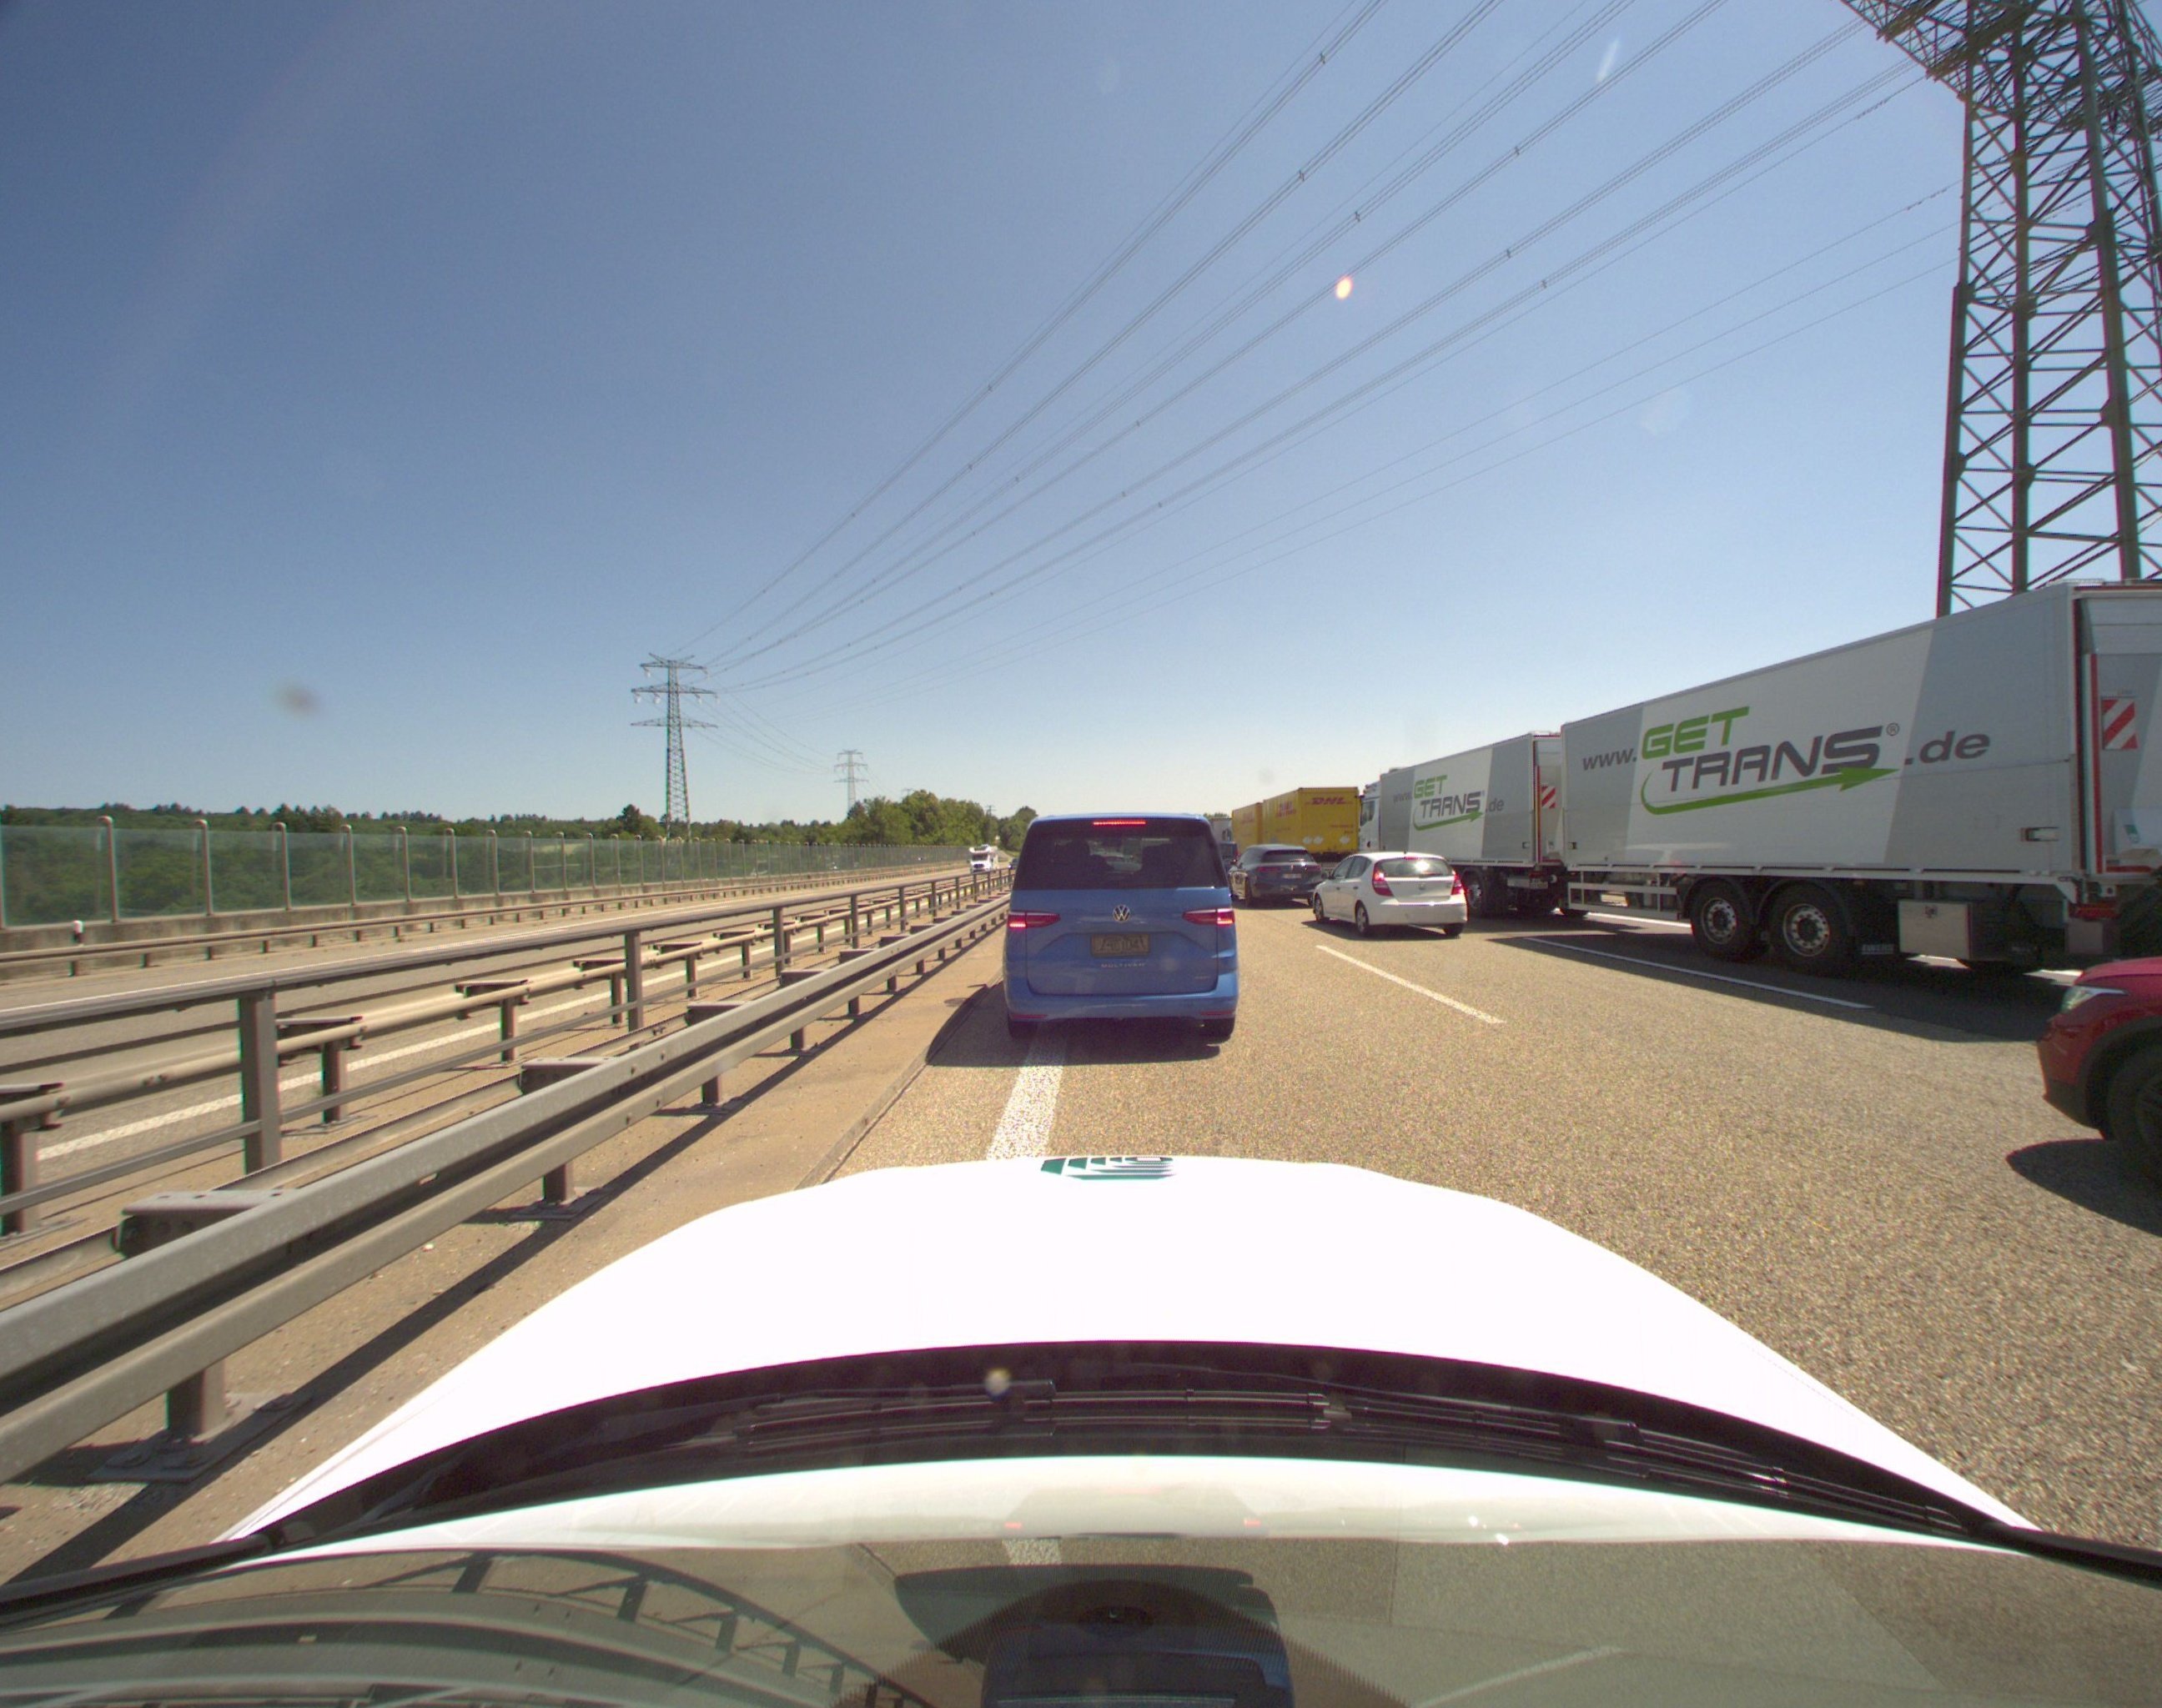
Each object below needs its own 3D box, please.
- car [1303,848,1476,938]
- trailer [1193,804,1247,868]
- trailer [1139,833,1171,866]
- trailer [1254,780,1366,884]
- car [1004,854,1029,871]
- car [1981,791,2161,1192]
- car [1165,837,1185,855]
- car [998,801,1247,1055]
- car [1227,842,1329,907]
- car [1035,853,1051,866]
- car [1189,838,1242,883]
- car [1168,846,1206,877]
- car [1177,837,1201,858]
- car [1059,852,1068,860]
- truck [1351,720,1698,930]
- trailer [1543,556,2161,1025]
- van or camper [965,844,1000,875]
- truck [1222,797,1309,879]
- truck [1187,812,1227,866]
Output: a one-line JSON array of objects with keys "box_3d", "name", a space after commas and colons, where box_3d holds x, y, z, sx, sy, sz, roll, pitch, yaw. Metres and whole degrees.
[{"box_3d": [5.722, 0.651, 15.712, 1.782, 1.455, 4.295, -1, 0, 2], "name": "car"}, {"box_3d": [10.731, -1.292, 64.108, 2.627, 4.516, 11.305, 0, 0, 2], "name": "trailer"}, {"box_3d": [7.189, -0.412, 80.238, 2.559, 2.990, 10.667, 0, 0, 2], "name": "trailer"}, {"box_3d": [10.341, -0.877, 37.882, 2.854, 4.239, 9.014, 0, 0, 1], "name": "trailer"}, {"box_3d": [-6.387, 0.837, 81.485, 1.860, 1.531, 4.426, -5, 0, 2], "name": "car"}, {"box_3d": [5.308, 0.550, 1.911, 1.769, 1.662, 4.225, -1, 0, 1], "name": "car"}, {"box_3d": [11.336, -0.946, 98.697, 1.986, 2.013, 4.463, -2, 0, 2], "name": "car"}, {"box_3d": [0.369, 0.552, 8.020, 1.813, 1.857, 4.076, 0, 0, 2], "name": "car"}, {"box_3d": [5.463, 0.530, 23.161, 1.955, 1.644, 4.295, -1, 0, 2], "name": "car"}, {"box_3d": [-5.664, 0.819, 121.244, 1.860, 1.699, 4.431, -5, 1, 1], "name": "car"}, {"box_3d": [6.513, 0.298, 39.721, 1.955, 1.993, 4.295, -1, 0, 2], "name": "car"}, {"box_3d": [6.610, 0.444, 51.207, 1.986, 1.816, 4.002, -1, 0, 2], "name": "car"}, {"box_3d": [10.692, -0.627, 81.085, 1.986, 2.014, 4.002, 0, 0, 2], "name": "car"}, {"box_3d": [-4.583, 0.520, 209.205, 1.856, 2.131, 4.270, -4, 0, 2], "name": "car"}, {"box_3d": [9.688, -0.520, 19.946, 2.647, 3.648, 11.013, -1, 0, 1], "name": "truck"}, {"box_3d": [9.497, -0.533, 10.448, 2.688, 3.700, 8.017, -1, 0, 1], "name": "trailer"}, {"box_3d": [-10.182, 0.554, 84.707, 2.413, 3.024, 7.030, -3, 0, 2], "name": "van or camper"}, {"box_3d": [10.566, -0.827, 47.918, 2.826, 4.243, 11.013, 0, 0, 1], "name": "truck"}, {"box_3d": [10.971, -1.251, 71.624, 2.657, 4.484, 6.852, 0, 0, 2], "name": "truck"}]
